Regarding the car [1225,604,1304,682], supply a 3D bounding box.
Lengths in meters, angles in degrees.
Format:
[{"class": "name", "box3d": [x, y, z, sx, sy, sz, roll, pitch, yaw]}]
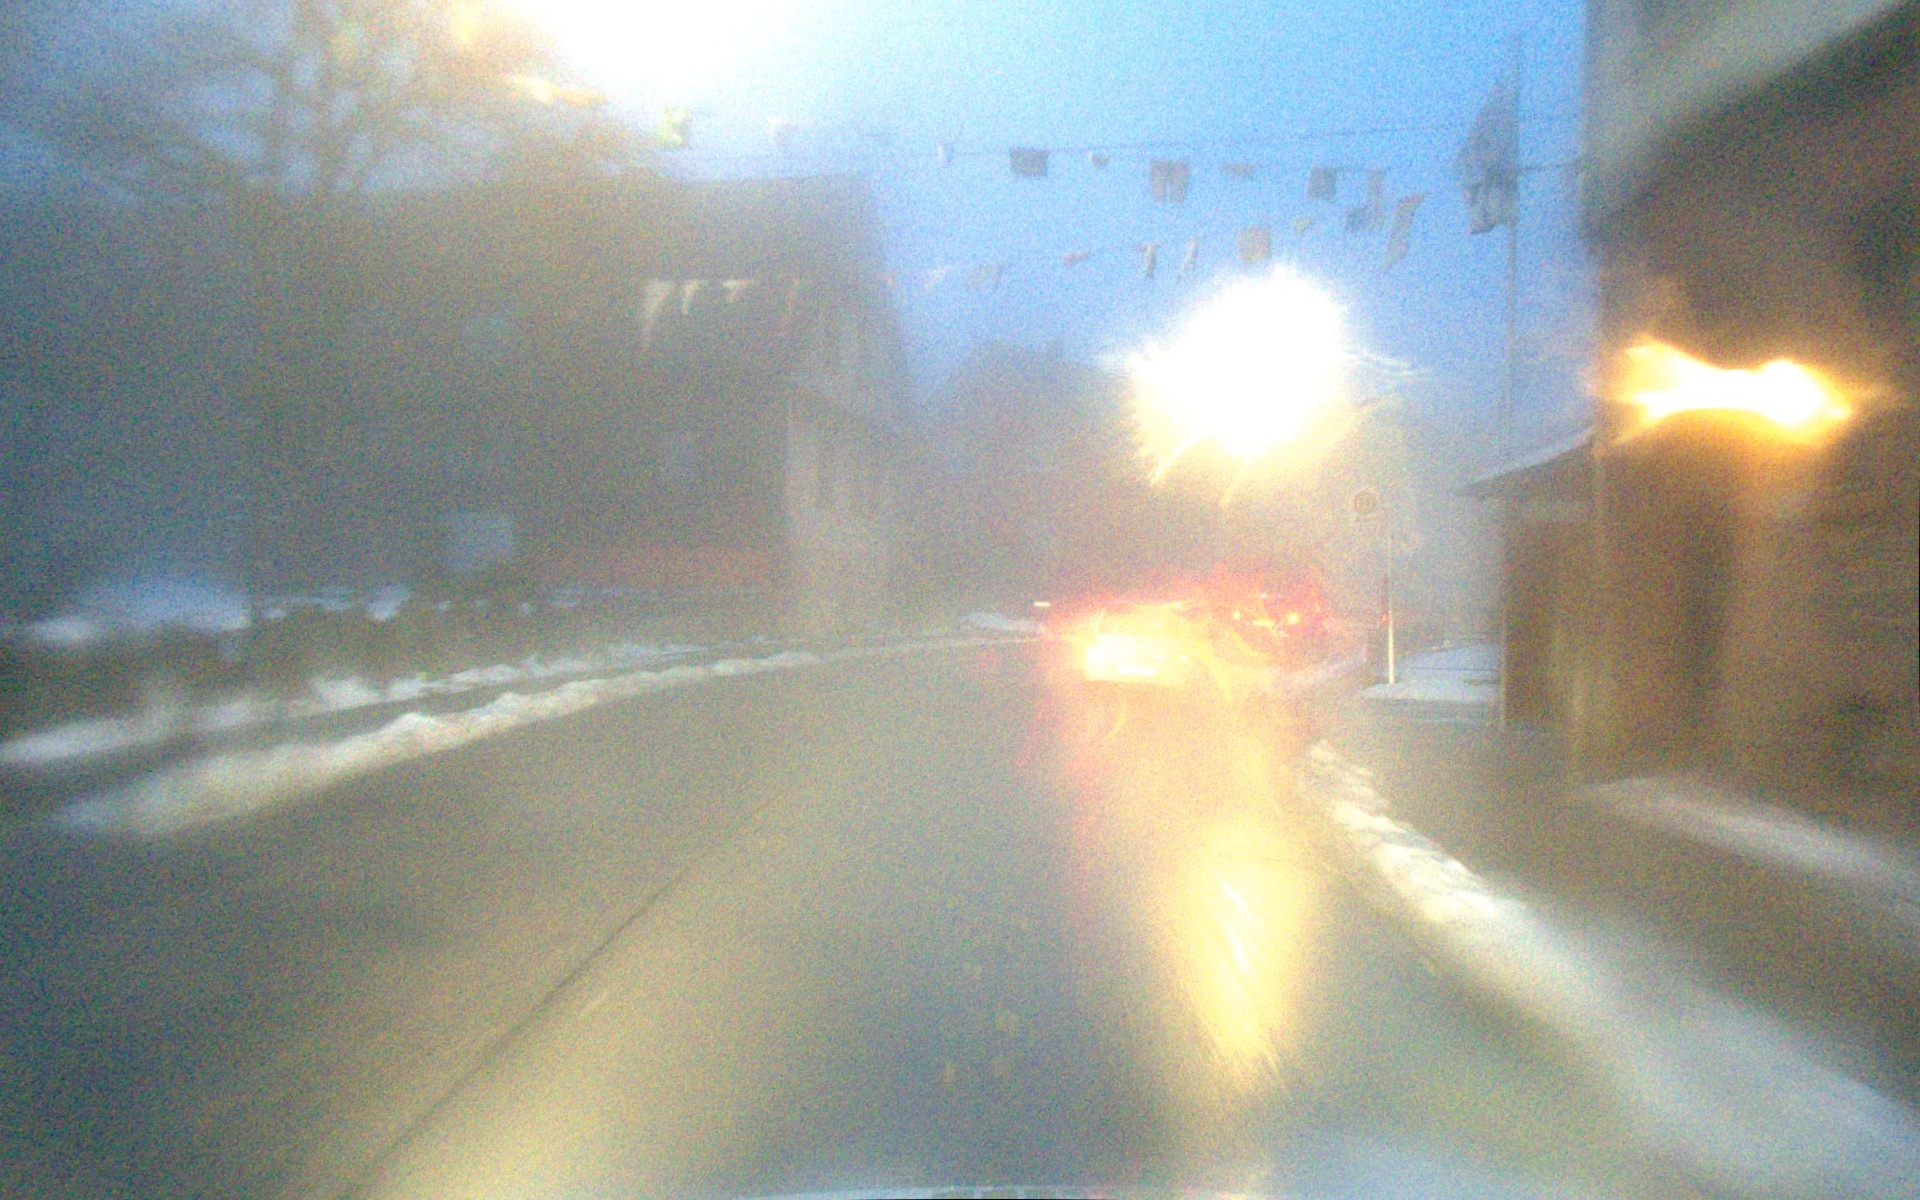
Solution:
[{"class": "car", "box3d": [7.059, 0.956, 38.141, 1.610, 1.624, 3.702, 3, 0, 12]}]

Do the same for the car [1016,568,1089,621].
[{"class": "car", "box3d": [2.994, -0.169, 52.721, 1.834, 1.530, 4.003, 3, 0, 9]}]

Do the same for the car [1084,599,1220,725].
[{"class": "car", "box3d": [2.737, 0.838, 24.234, 1.611, 1.624, 3.700, 3, 0, 2]}]
